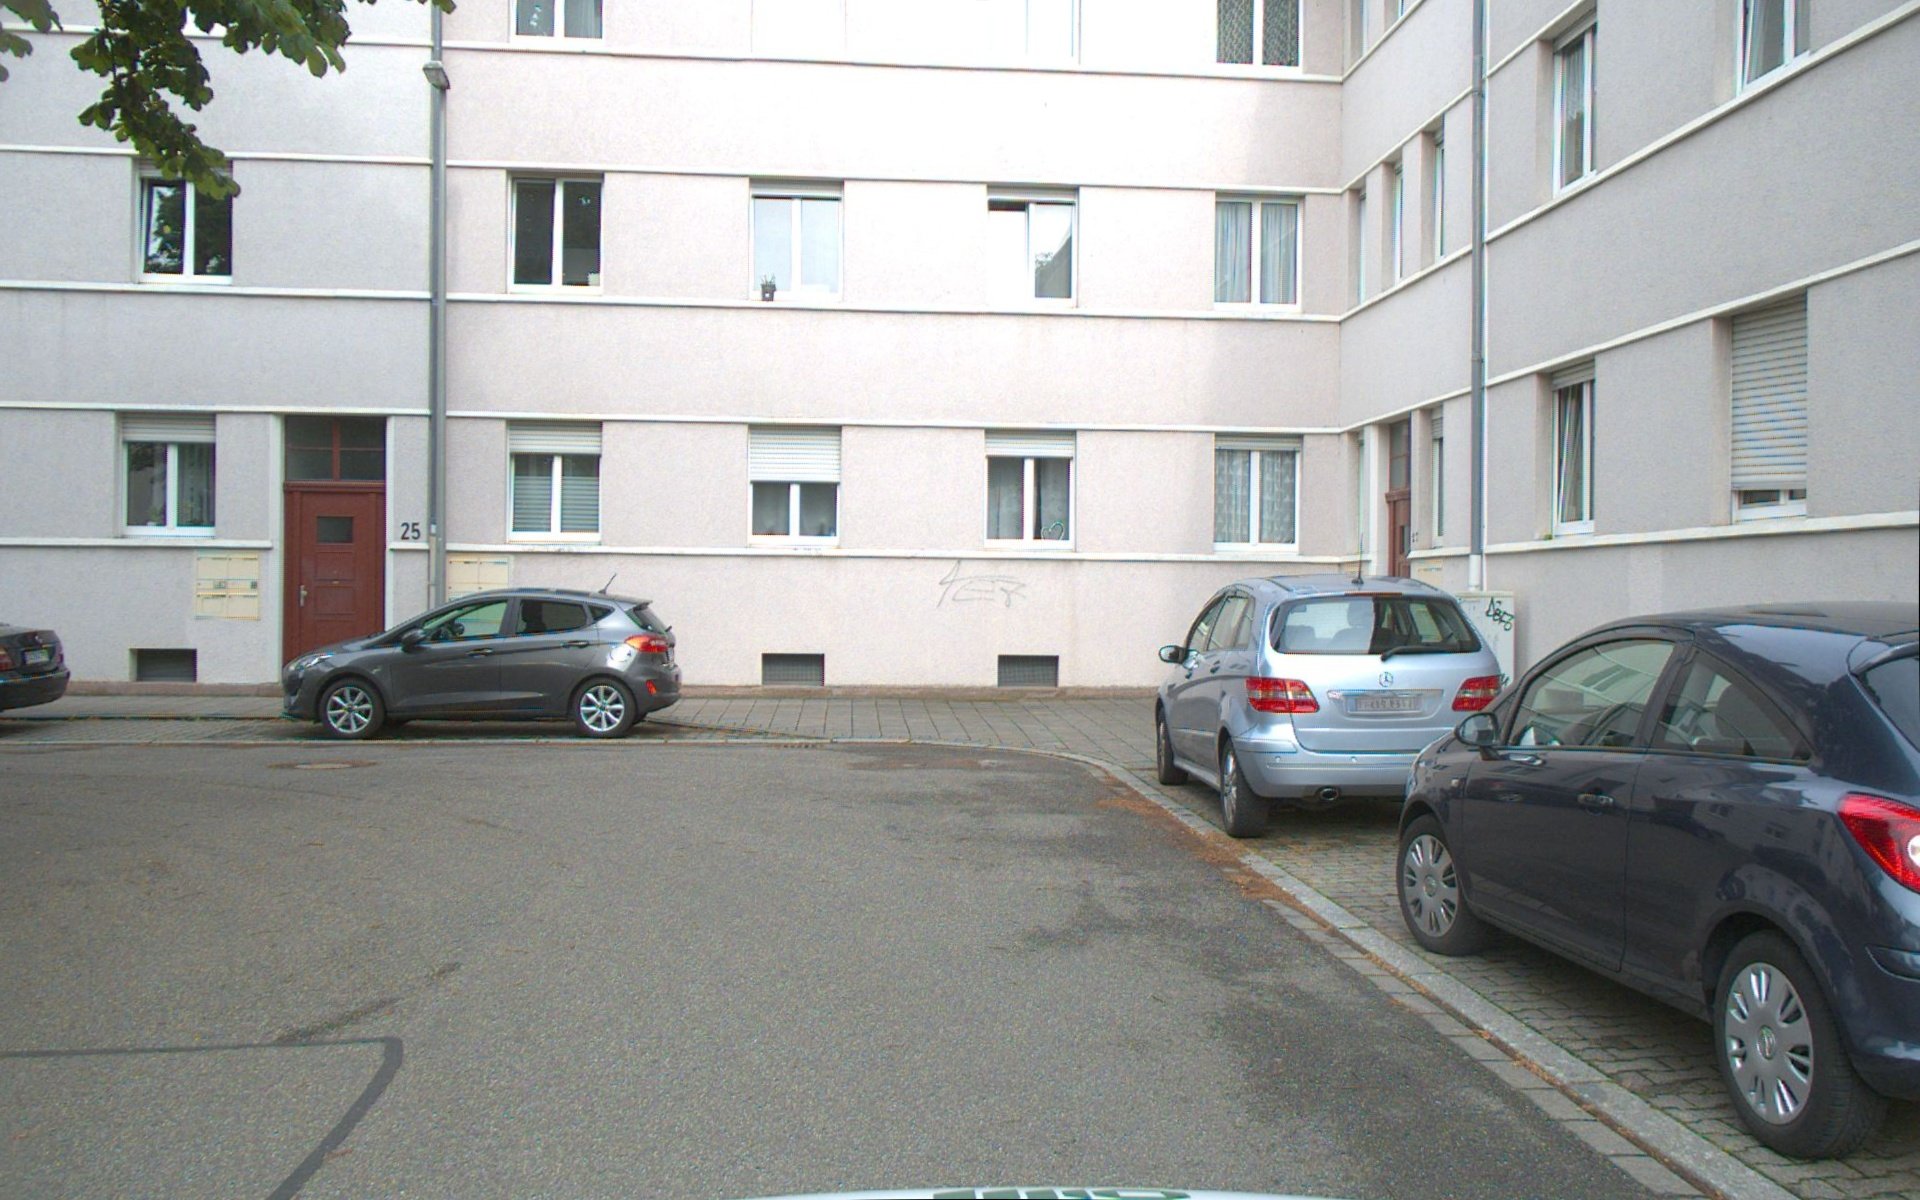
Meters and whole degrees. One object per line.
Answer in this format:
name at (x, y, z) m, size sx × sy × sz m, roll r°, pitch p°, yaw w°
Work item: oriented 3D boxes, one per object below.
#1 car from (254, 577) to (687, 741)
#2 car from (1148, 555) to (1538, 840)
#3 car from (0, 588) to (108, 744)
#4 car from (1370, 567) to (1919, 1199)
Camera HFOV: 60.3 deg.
car at (-4.912, 0.579, 17.068) m, size 3.987 × 1.551 × 1.761 m, roll 1°, pitch 1°, yaw -6°
car at (2.487, 0.580, 11.794) m, size 1.721 × 1.656 × 4.199 m, roll 1°, pitch 0°, yaw -1°
car at (-11.351, 0.595, 16.388) m, size 4.838 × 1.445 × 1.749 m, roll 1°, pitch 1°, yaw -6°
car at (2.921, 0.697, 5.904) m, size 1.722 × 1.516 × 3.934 m, roll 1°, pitch 0°, yaw -4°
